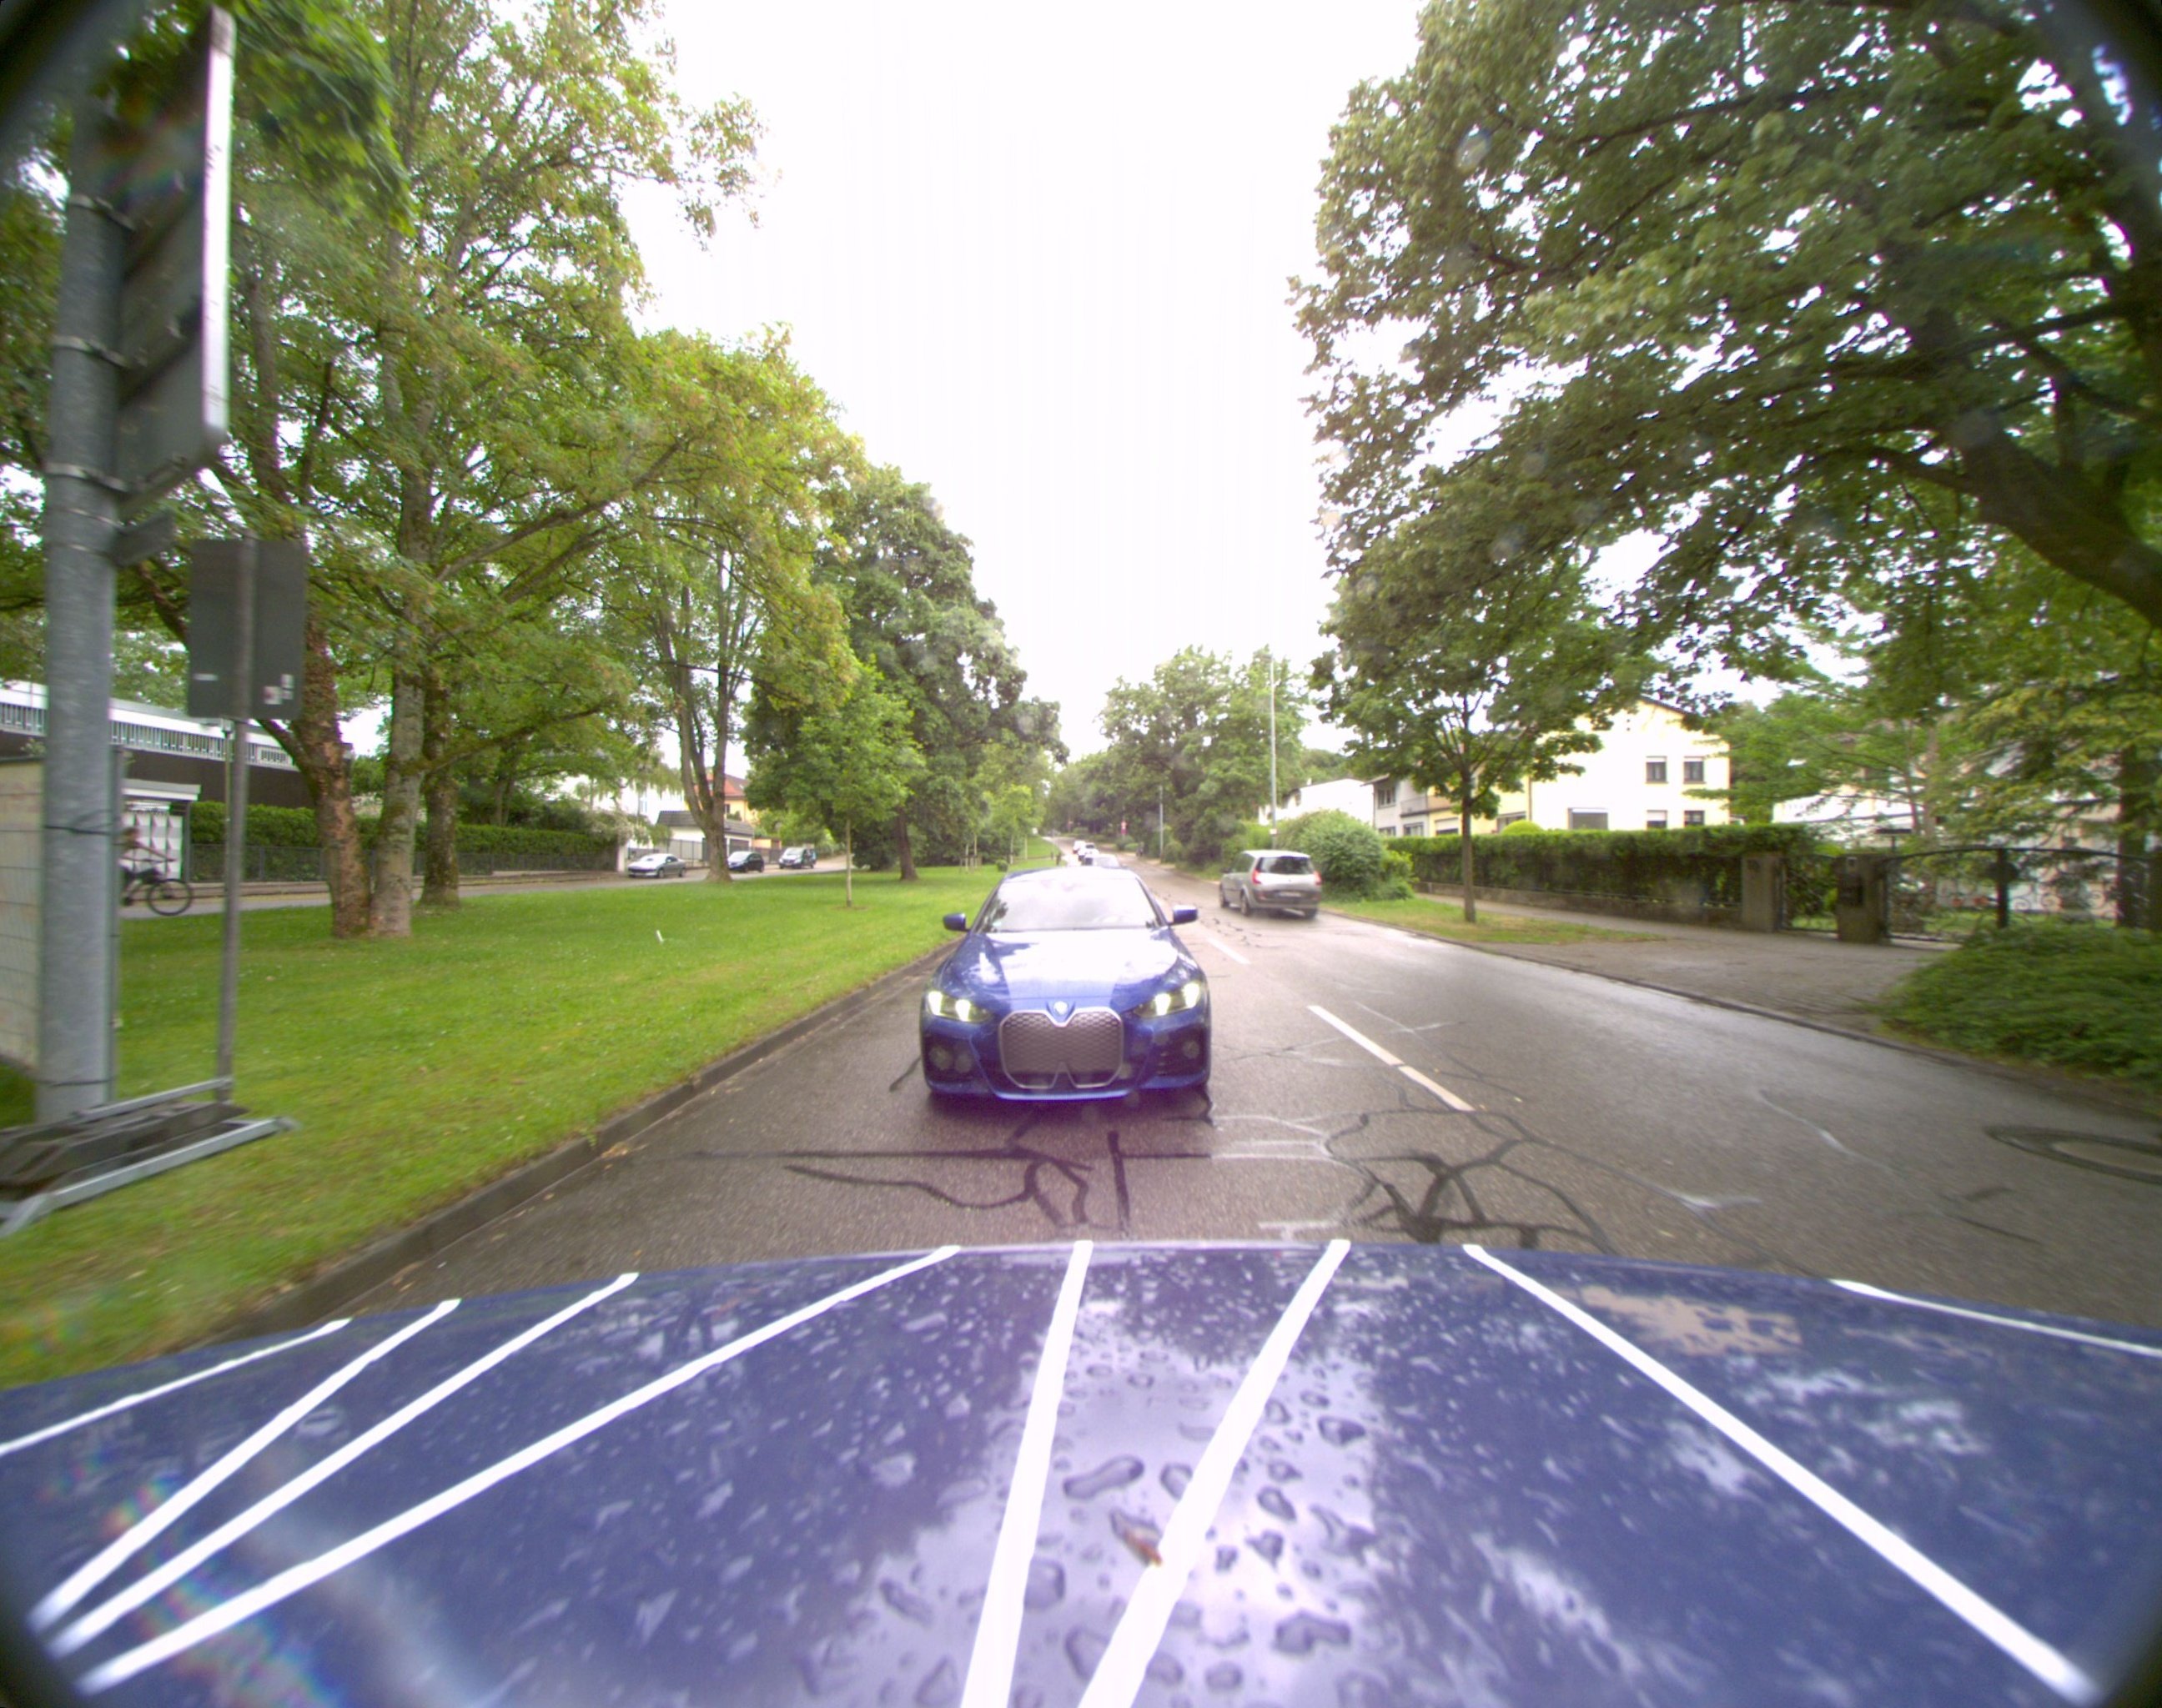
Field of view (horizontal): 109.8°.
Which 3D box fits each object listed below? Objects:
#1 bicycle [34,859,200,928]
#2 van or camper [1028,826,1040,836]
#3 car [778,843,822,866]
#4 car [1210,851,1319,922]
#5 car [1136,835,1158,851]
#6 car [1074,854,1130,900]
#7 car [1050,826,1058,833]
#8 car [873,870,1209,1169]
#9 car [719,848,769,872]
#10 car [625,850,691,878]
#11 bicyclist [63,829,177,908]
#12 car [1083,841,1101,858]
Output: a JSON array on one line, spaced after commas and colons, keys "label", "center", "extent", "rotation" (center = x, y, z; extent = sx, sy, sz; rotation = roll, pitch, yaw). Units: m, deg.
[{"label": "bicycle", "center": [-17.424, 0.671, 13.817], "extent": [0.597, 1.132, 1.863], "rotation": [0, 1, 1]}, {"label": "van or camper", "center": [-9.389, -4.518, 150.724], "extent": [2.000, 1.859, 5.658], "rotation": [0, 3, -7]}, {"label": "car", "center": [-24.715, 0.026, 67.002], "extent": [2.165, 1.868, 5.067], "rotation": [0, 1, -2]}, {"label": "car", "center": [4.556, 0.740, 19.457], "extent": [1.768, 1.604, 4.141], "rotation": [1, 0, 0]}, {"label": "car", "center": [7.206, -1.223, 83.270], "extent": [1.668, 1.534, 4.281], "rotation": [-4, 2, -3]}, {"label": "car", "center": [0.771, 0.745, 26.932], "extent": [1.796, 1.459, 4.510], "rotation": [0, 0, 2]}, {"label": "car", "center": [-6.468, -5.908, 183.921], "extent": [1.759, 1.356, 4.322], "rotation": [1, 4, -1]}, {"label": "car", "center": [-0.128, 0.980, 6.483], "extent": [1.796, 1.459, 4.510], "rotation": [-3, 0, 3]}, {"label": "car", "center": [-24.105, 0.419, 54.572], "extent": [1.907, 1.615, 4.033], "rotation": [0, 1, -2]}, {"label": "car", "center": [-23.489, 0.531, 42.307], "extent": [1.686, 1.368, 3.708], "rotation": [2, 1, -2]}, {"label": "bicyclist", "center": [-17.428, 0.250, 13.810], "extent": [0.746, 1.383, 1.000], "rotation": [0, 1, 1]}, {"label": "car", "center": [1.056, -0.413, 71.774], "extent": [1.678, 1.542, 3.831], "rotation": [1, 1, 1]}]
